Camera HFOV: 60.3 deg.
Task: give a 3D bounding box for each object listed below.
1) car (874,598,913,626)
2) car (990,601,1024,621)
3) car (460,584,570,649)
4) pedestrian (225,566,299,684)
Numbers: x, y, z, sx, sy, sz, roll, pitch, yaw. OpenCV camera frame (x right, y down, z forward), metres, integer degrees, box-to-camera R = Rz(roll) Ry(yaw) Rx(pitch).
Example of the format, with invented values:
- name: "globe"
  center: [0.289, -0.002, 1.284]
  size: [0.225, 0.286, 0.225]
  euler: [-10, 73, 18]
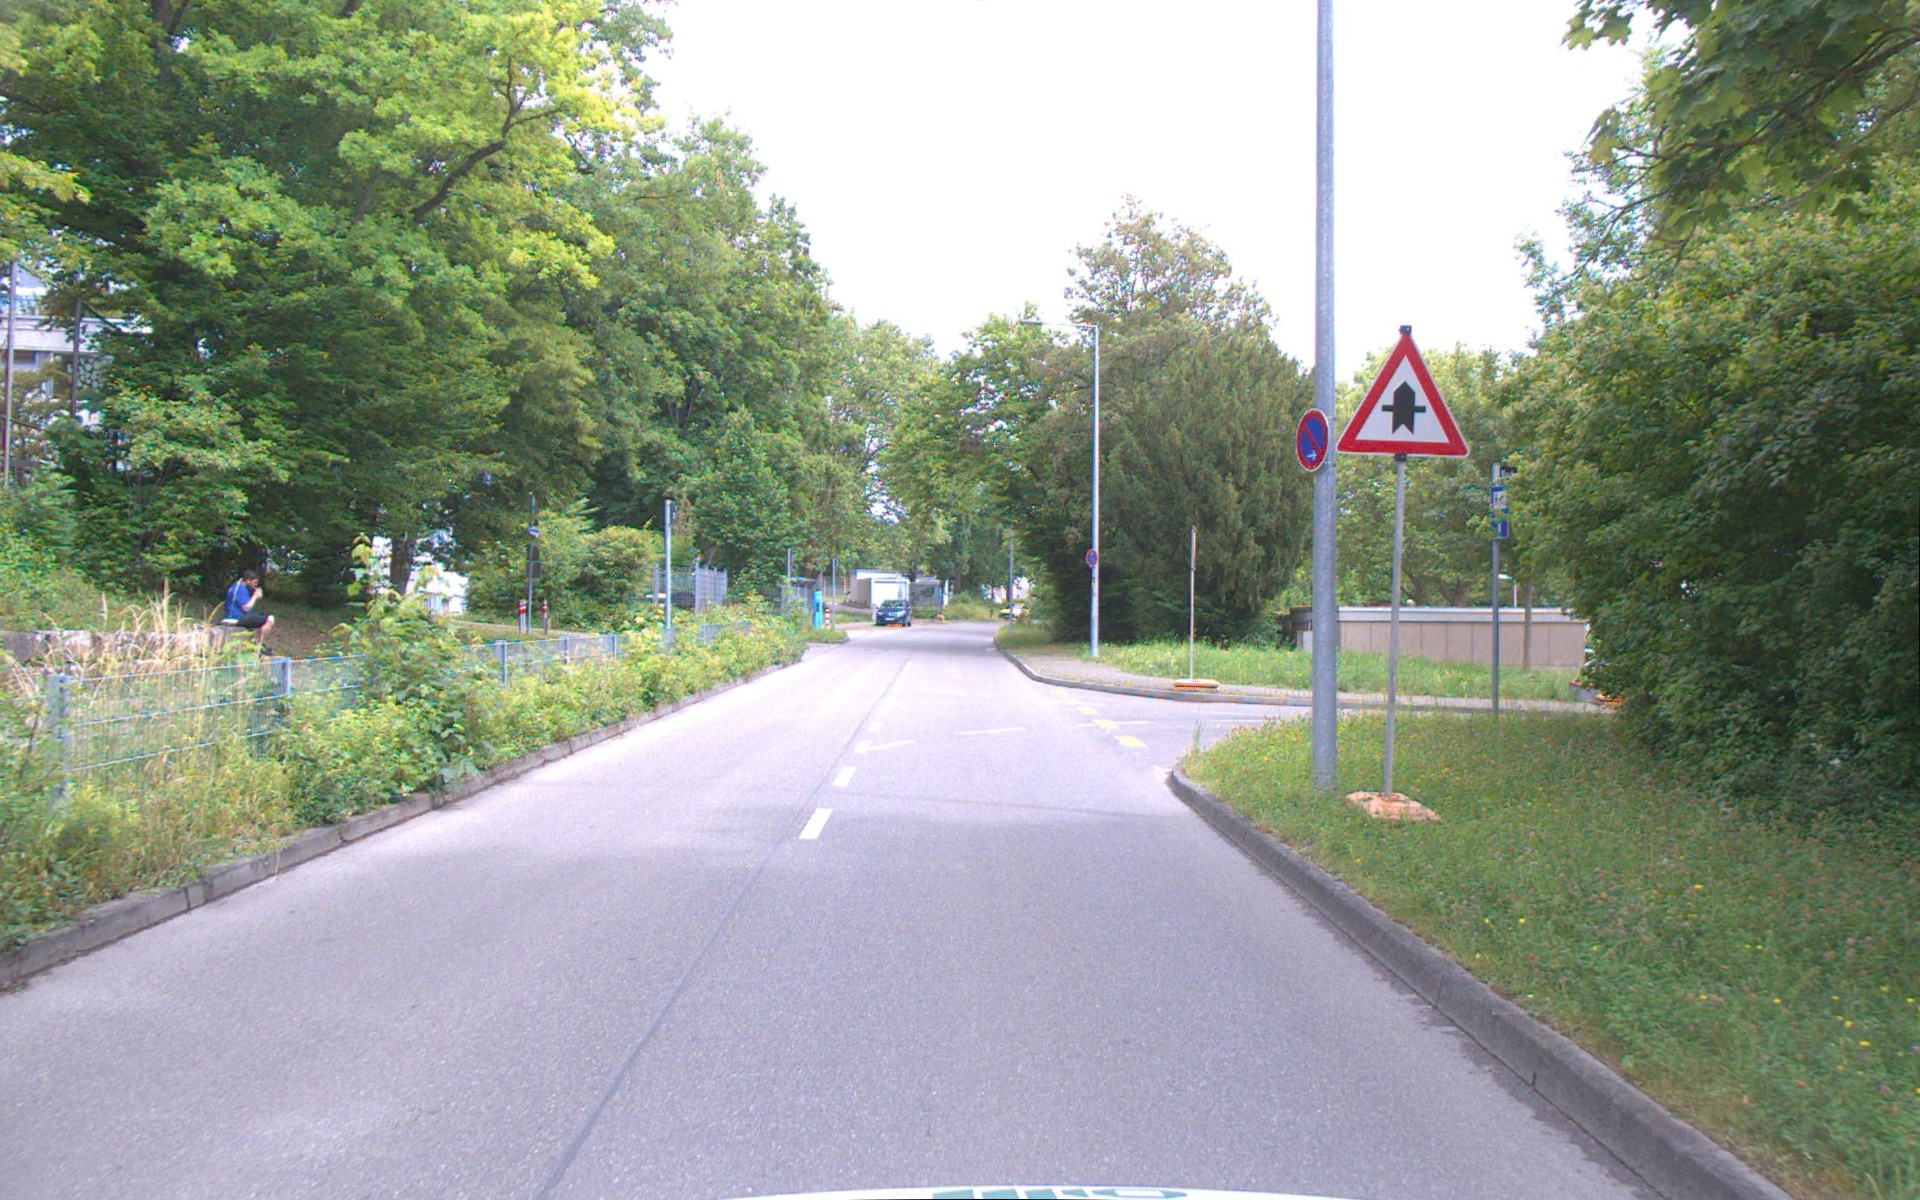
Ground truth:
- name: "car"
  center: [-3.781, 0.711, 94.718]
  size: [1.644, 1.538, 4.433]
  euler: [1, 0, 5]
- name: "car"
  center: [3.779, 0.874, 132.093]
  size: [1.664, 1.427, 4.275]
  euler: [2, -1, 17]
- name: "car"
  center: [-14.736, 0.528, 54.977]
  size: [1.951, 2.049, 4.003]
  euler: [0, 0, 11]
- name: "pedestrian"
  center: [-10.174, 0.356, 24.143]
  size: [0.744, 1.691, 0.808]
  euler: [0, 0, -3]
